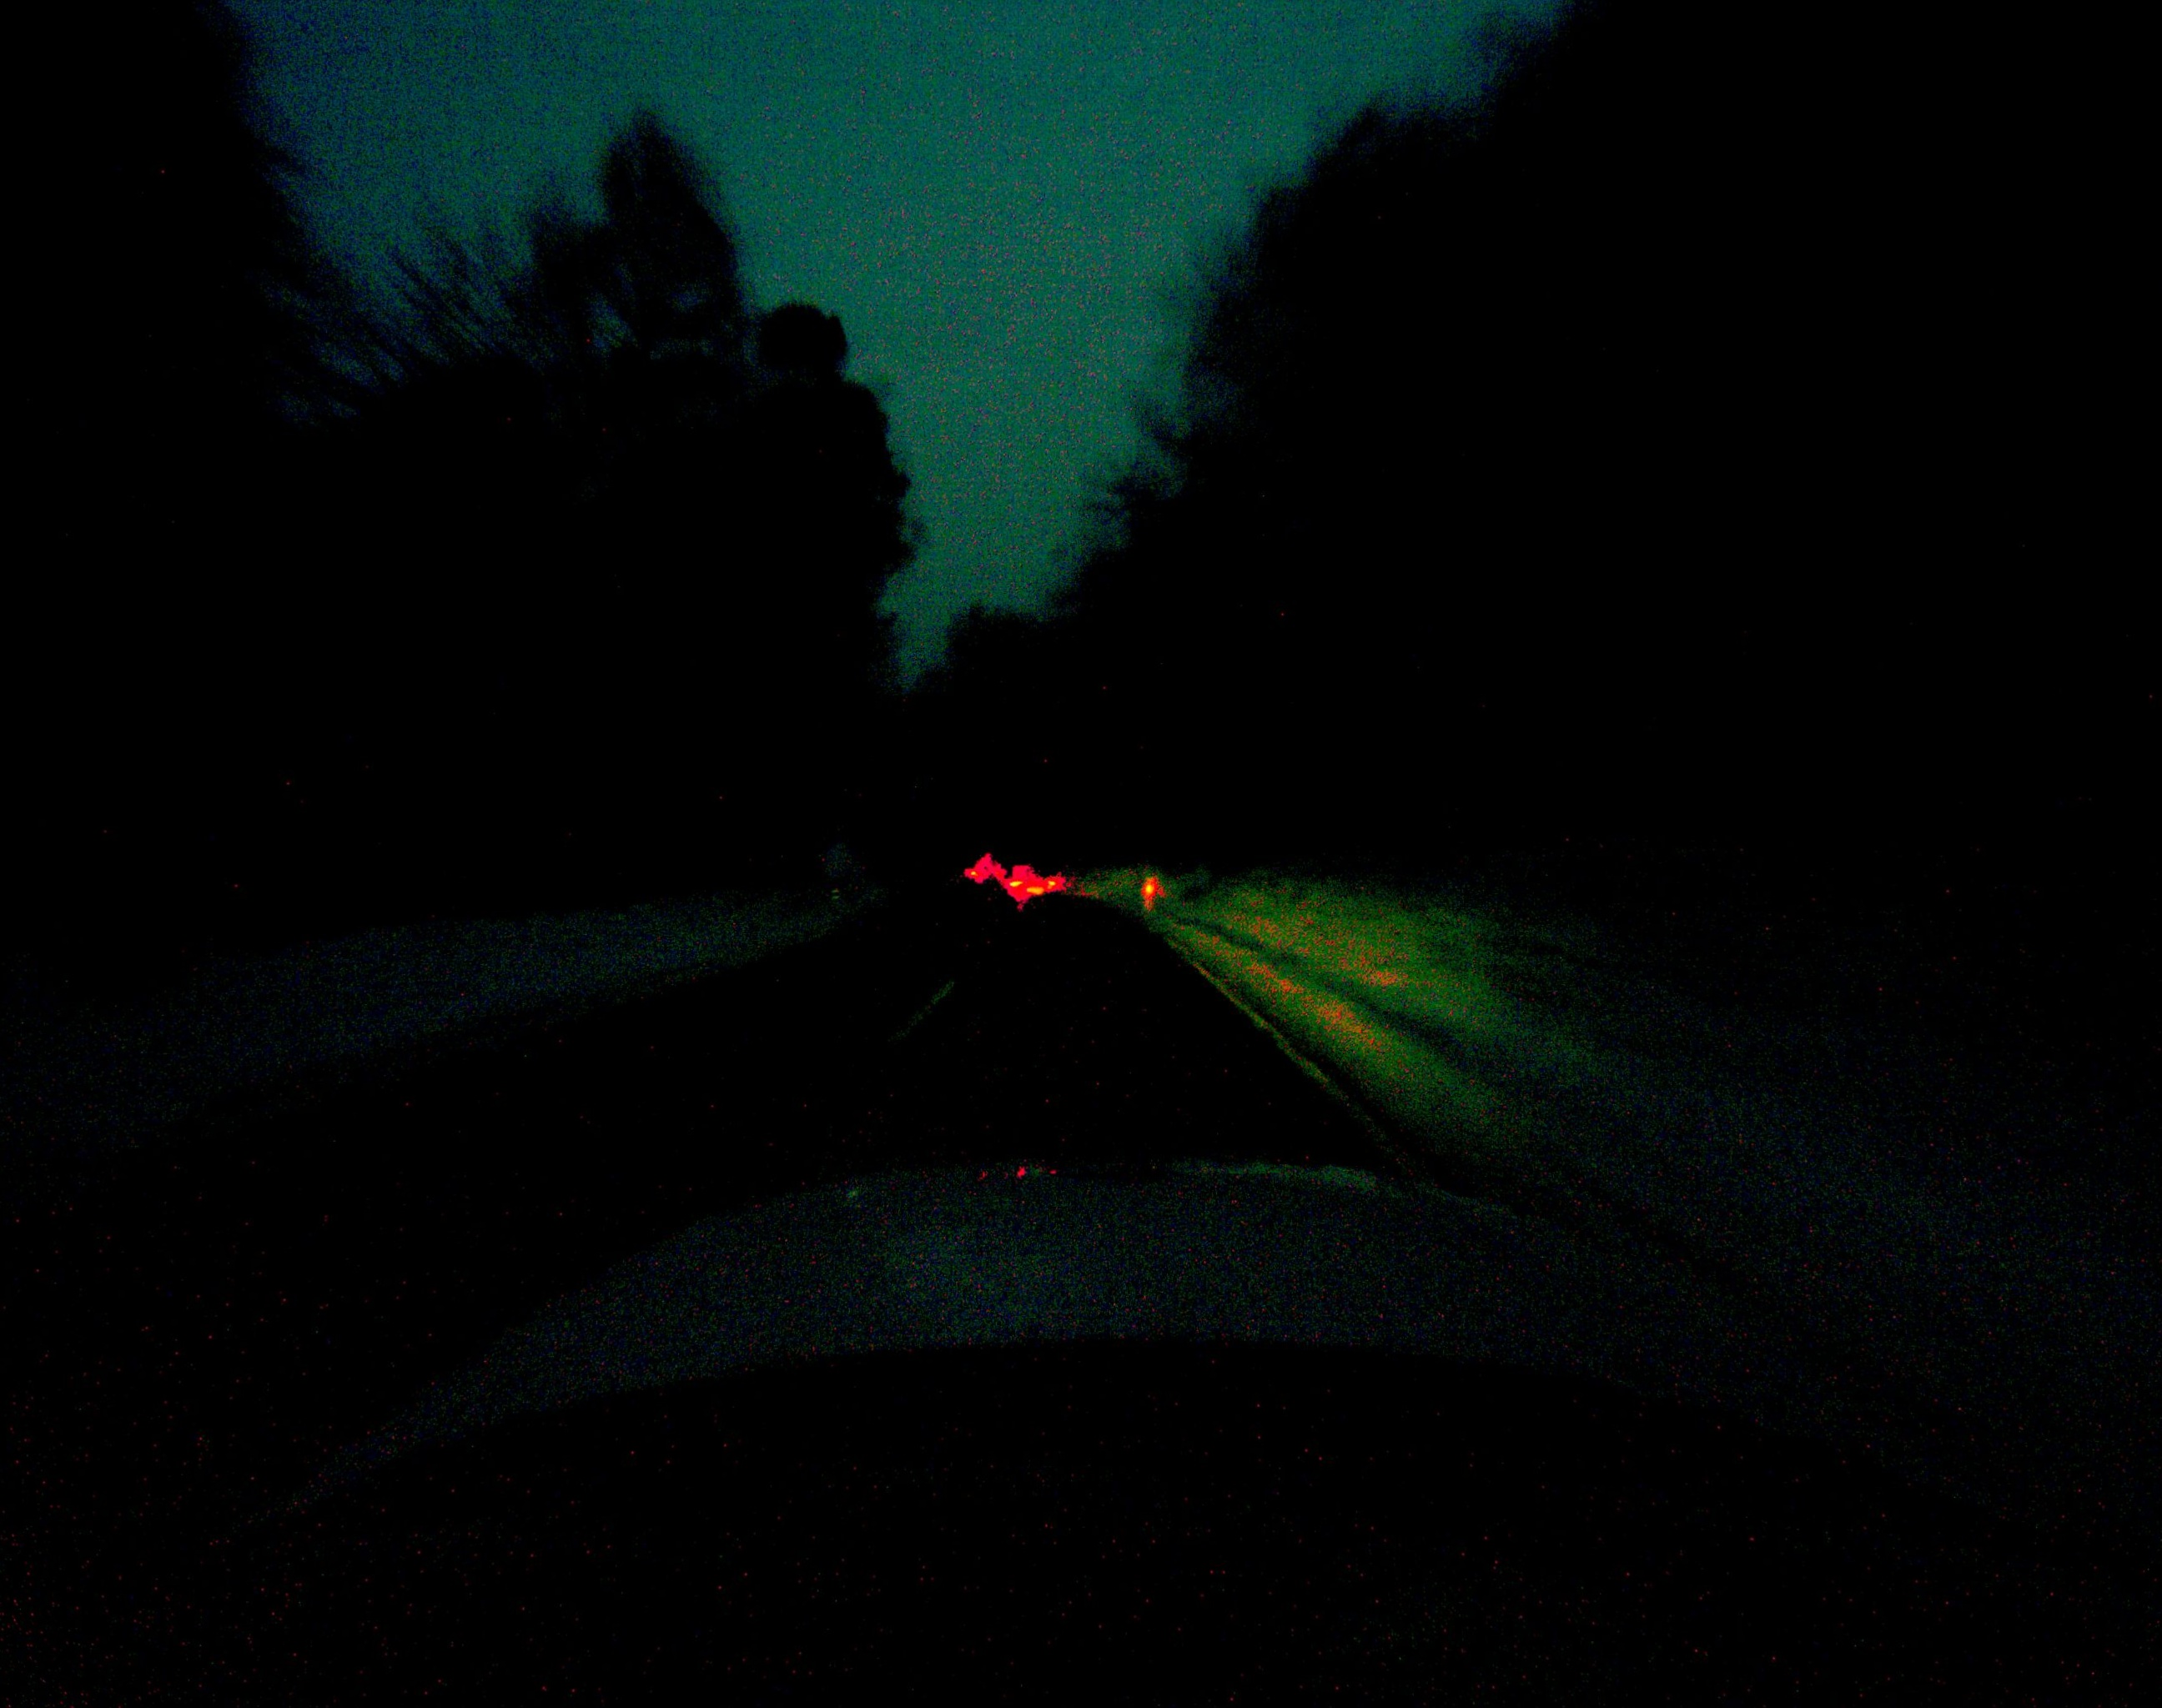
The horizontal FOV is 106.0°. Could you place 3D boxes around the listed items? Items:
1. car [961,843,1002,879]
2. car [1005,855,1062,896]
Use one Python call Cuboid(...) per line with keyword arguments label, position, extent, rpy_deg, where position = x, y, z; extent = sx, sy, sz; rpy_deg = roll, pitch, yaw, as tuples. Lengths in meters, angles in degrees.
Cuboid(label="car", position=(-5.890, 0.455, 47.847), extent=(1.994, 1.783, 3.983), rpy_deg=(4, -3, -11))
Cuboid(label="car", position=(-1.758, 0.827, 30.550), extent=(1.941, 1.381, 3.995), rpy_deg=(2, -2, -2))
